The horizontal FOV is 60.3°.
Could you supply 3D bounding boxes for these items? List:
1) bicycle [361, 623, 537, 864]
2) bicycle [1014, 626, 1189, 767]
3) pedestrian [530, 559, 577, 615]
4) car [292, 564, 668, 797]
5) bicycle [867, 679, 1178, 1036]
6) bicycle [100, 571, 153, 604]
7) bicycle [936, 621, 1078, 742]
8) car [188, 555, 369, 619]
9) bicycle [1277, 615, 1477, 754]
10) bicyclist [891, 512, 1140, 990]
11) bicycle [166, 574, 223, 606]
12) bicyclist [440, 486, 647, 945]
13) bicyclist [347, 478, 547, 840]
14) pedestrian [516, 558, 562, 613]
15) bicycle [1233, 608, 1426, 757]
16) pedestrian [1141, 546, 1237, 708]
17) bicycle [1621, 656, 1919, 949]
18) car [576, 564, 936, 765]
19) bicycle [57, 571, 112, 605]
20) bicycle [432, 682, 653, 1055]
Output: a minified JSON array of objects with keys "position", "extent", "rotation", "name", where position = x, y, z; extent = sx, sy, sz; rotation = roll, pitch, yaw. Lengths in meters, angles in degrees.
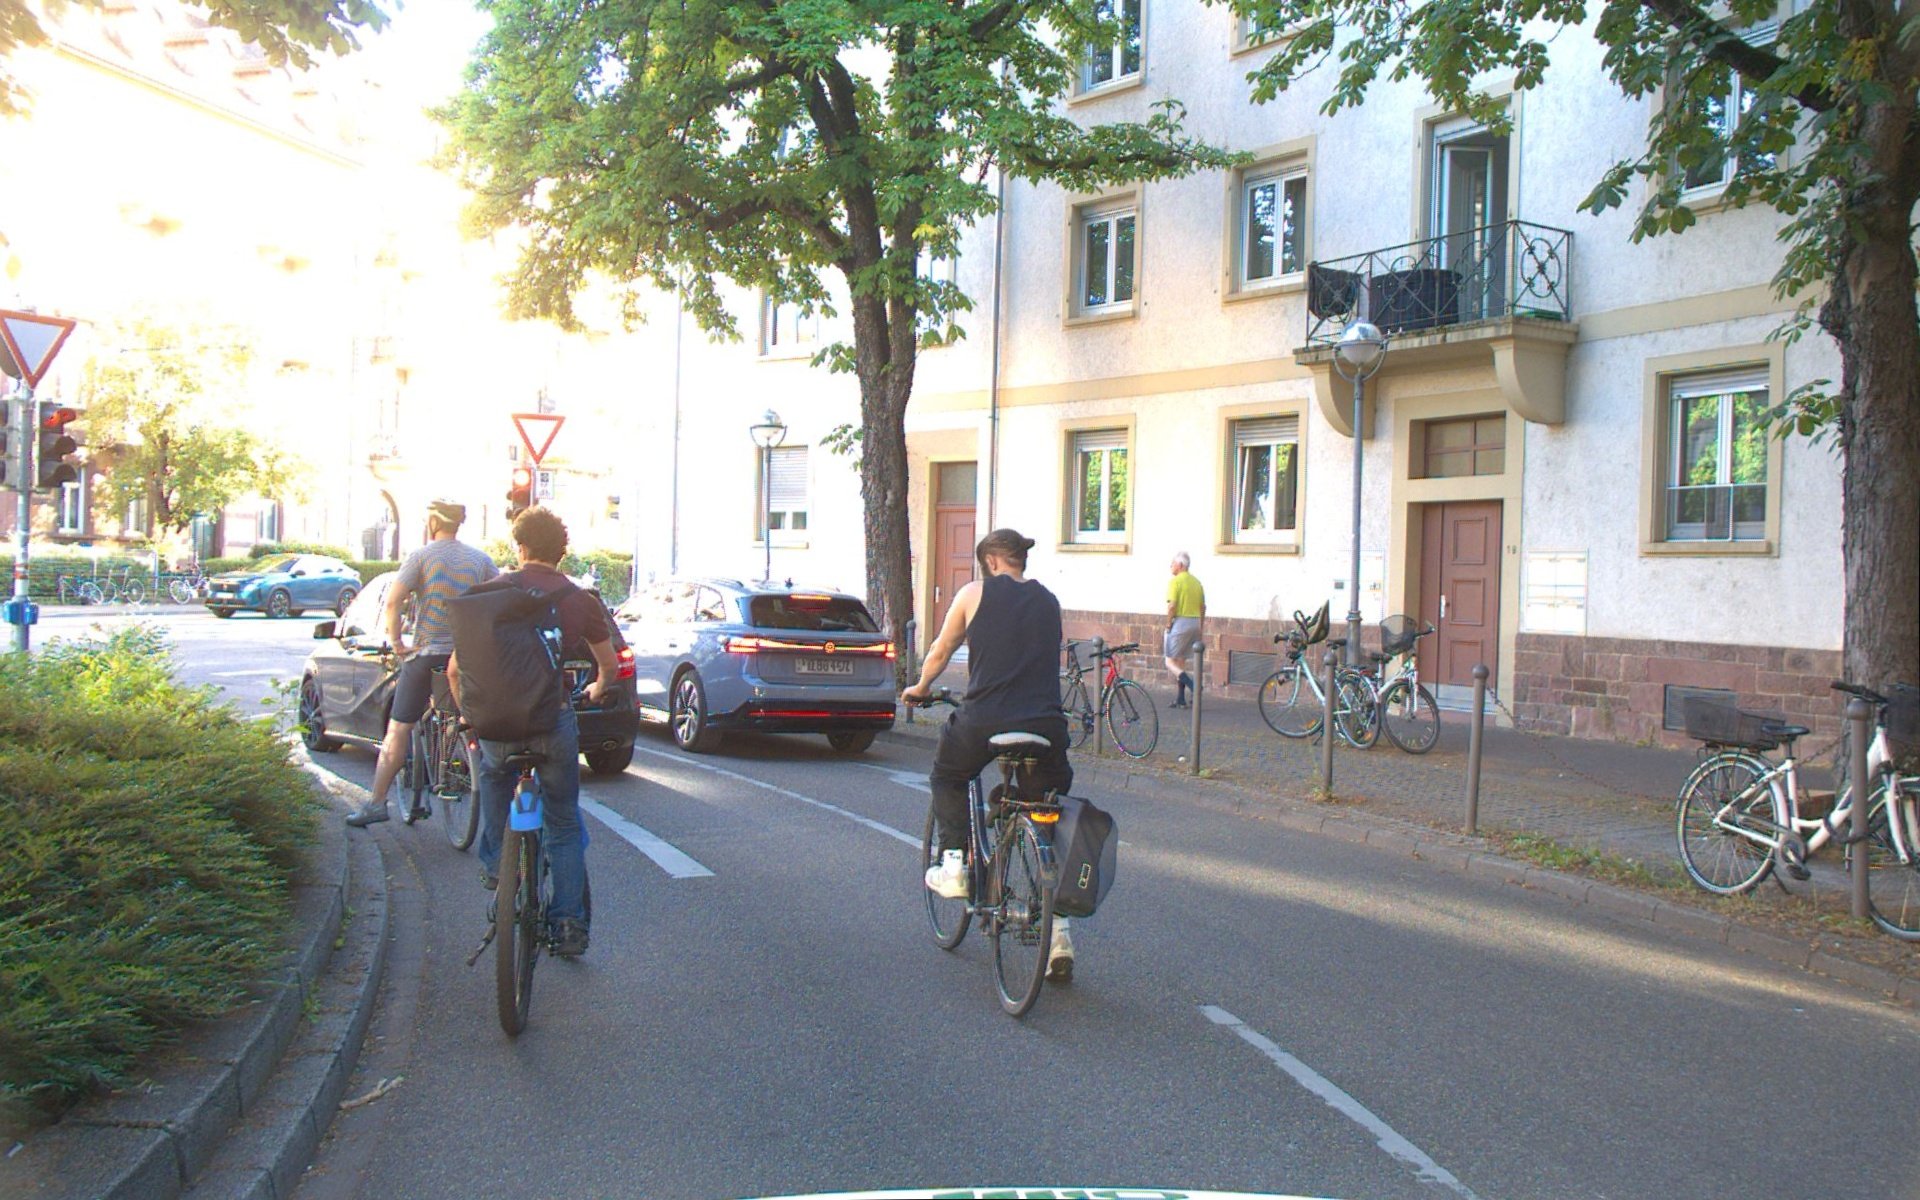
[{"position":[-3.025,0.766,9.660],"extent":[0.591,1.182,2.023],"rotation":[2,1,-28],"name":"bicycle"},{"position":[1.216,0.814,14.649],"extent":[0.609,1.076,1.911],"rotation":[-1,2,-28],"name":"bicycle"},{"position":[-15.013,-0.471,61.081],"extent":[1.133,1.996,1.388],"rotation":[2,0,13],"name":"pedestrian"},{"position":[-3.984,0.509,13.301],"extent":[1.797,1.570,3.911],"rotation":[-1,1,-34],"name":"car"},{"position":[0.160,0.903,6.543],"extent":[0.725,1.029,2.055],"rotation":[1,1,-12],"name":"bicycle"},{"position":[-22.599,-0.339,44.854],"extent":[0.441,0.876,1.220],"rotation":[2,0,33],"name":"bicycle"},{"position":[0.413,0.753,16.016],"extent":[0.513,1.016,2.176],"rotation":[1,1,-23],"name":"bicycle"},{"position":[-17.642,-0.323,43.035],"extent":[1.952,1.522,4.376],"rotation":[2,1,18],"name":"car"},{"position":[3.818,0.741,15.338],"extent":[0.575,1.133,2.100],"rotation":[1,1,-26],"name":"bicycle"},{"position":[0.187,0.543,6.442],"extent":[0.739,1.711,0.911],"rotation":[2,0,-12],"name":"bicyclist"},{"position":[-21.844,-0.287,47.194],"extent":[0.441,0.876,1.442],"rotation":[2,0,33],"name":"bicycle"},{"position":[-1.544,0.389,6.150],"extent":[0.660,1.541,1.065],"rotation":[1,0,-15],"name":"bicyclist"},{"position":[-2.974,0.306,9.533],"extent":[0.842,1.931,1.128],"rotation":[1,1,-30],"name":"bicyclist"},{"position":[-15.790,-0.531,62.067],"extent":[1.133,1.996,1.388],"rotation":[2,0,13],"name":"pedestrian"},{"position":[3.308,0.705,15.028],"extent":[0.488,1.192,2.099],"rotation":[-2,2,-26],"name":"bicycle"},{"position":[2.653,0.293,19.177],"extent":[0.648,1.826,0.991],"rotation":[1,1,43],"name":"pedestrian"},{"position":[4.125,0.901,7.955],"extent":[0.607,1.132,1.981],"rotation":[-2,2,-19],"name":"bicycle"},{"position":[-2.056,0.509,15.654],"extent":[1.873,1.605,3.957],"rotation":[2,1,-32],"name":"car"},{"position":[-23.182,-0.313,43.799],"extent":[0.441,0.876,1.220],"rotation":[2,0,33],"name":"bicycle"},{"position":[-1.581,0.894,6.260],"extent":[0.663,1.072,2.053],"rotation":[1,-1,-15],"name":"bicycle"}]
